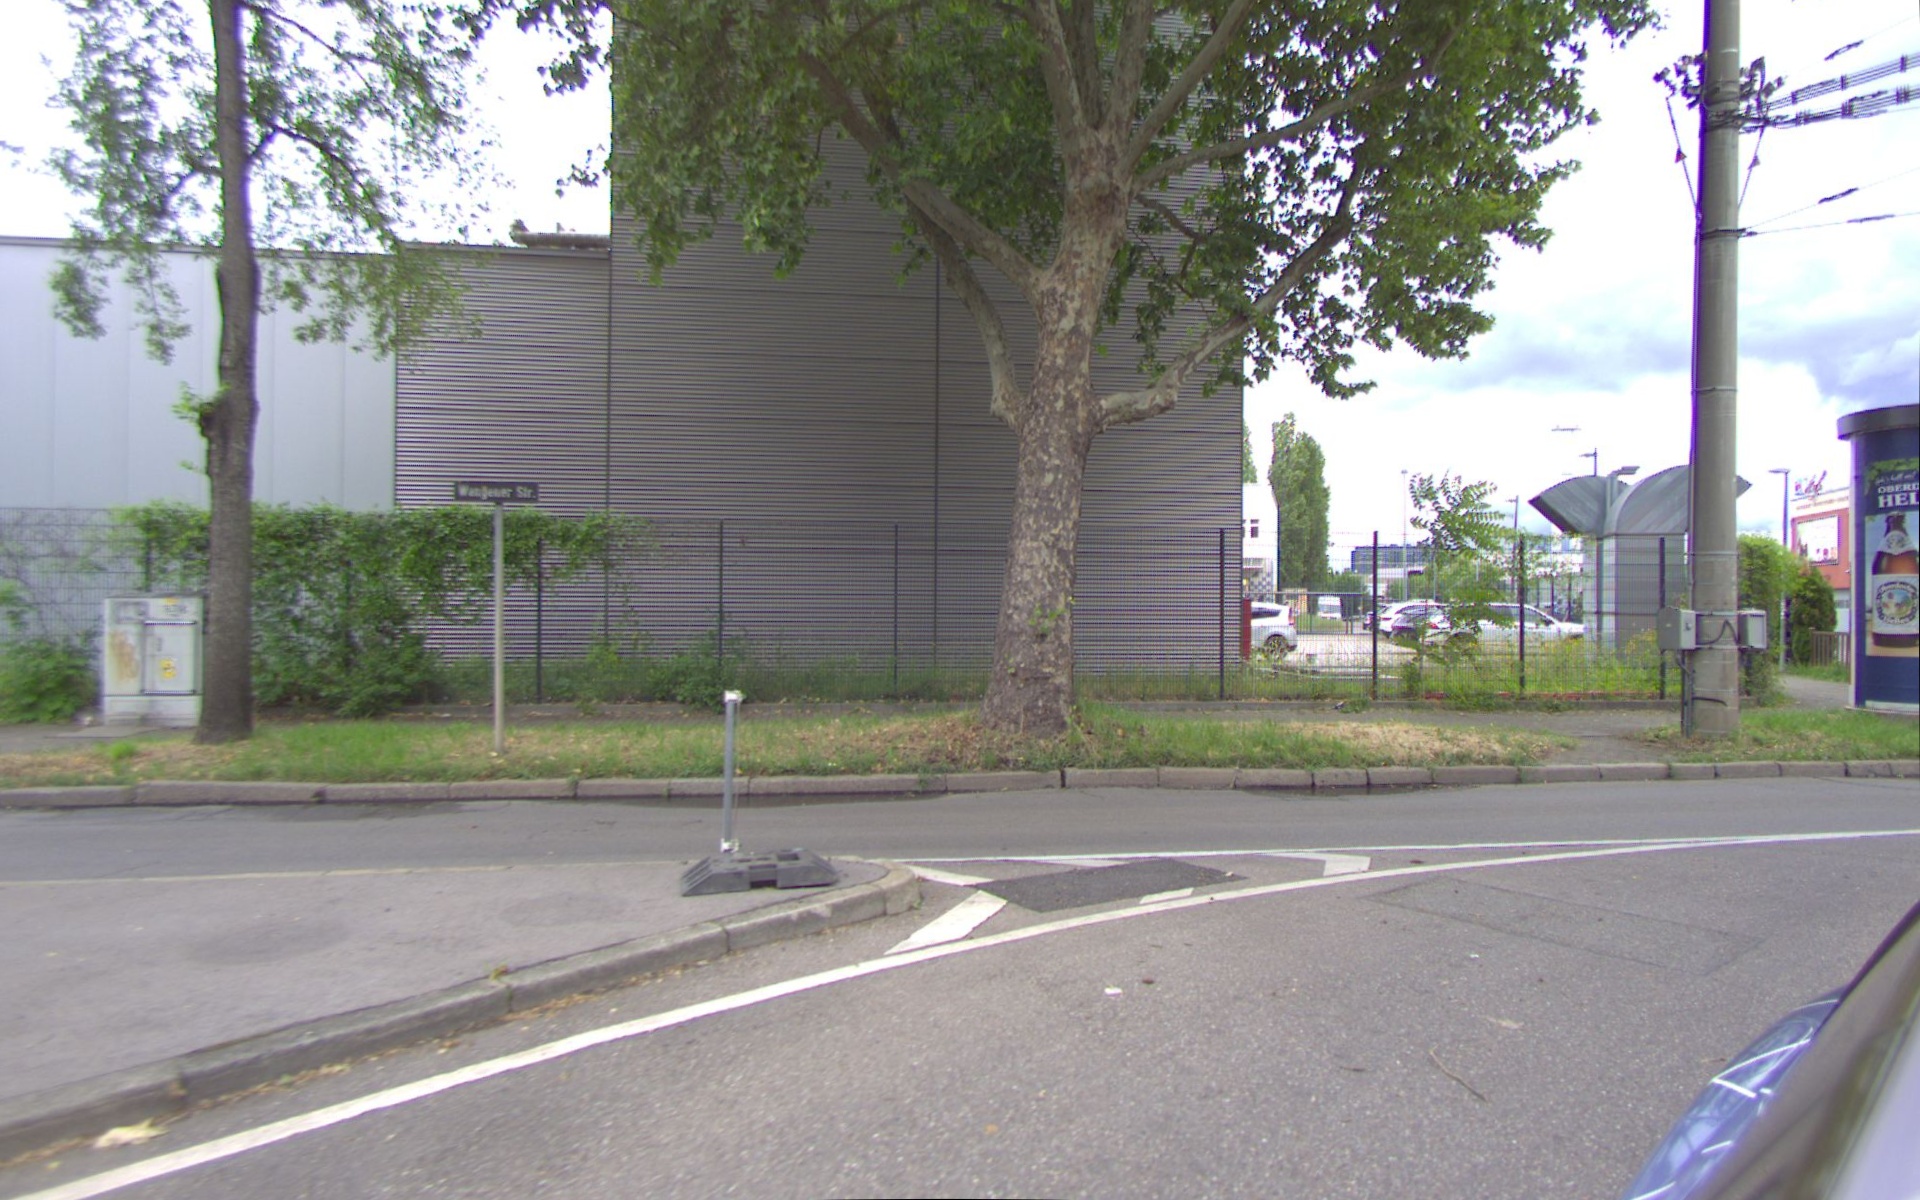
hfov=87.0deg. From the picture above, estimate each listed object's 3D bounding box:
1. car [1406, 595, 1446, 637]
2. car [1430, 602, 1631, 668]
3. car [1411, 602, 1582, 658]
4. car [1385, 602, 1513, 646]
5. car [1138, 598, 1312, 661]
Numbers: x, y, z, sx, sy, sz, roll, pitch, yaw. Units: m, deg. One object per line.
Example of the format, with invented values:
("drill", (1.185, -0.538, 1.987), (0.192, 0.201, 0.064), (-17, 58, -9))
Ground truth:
("car", (36.068, 1.291, 78.429), (1.947, 3.002, 5.556), (-1, -3, 16))
("car", (15.374, 0.902, 27.585), (4.444, 1.687, 1.987), (0, -1, 20))
("car", (16.718, 0.901, 31.795), (4.444, 1.687, 1.987), (0, -1, 20))
("car", (19.756, 0.939, 41.081), (4.444, 1.687, 1.987), (0, -1, 20))
("car", (7.339, 0.850, 28.208), (4.182, 1.671, 2.002), (0, -3, -11))
